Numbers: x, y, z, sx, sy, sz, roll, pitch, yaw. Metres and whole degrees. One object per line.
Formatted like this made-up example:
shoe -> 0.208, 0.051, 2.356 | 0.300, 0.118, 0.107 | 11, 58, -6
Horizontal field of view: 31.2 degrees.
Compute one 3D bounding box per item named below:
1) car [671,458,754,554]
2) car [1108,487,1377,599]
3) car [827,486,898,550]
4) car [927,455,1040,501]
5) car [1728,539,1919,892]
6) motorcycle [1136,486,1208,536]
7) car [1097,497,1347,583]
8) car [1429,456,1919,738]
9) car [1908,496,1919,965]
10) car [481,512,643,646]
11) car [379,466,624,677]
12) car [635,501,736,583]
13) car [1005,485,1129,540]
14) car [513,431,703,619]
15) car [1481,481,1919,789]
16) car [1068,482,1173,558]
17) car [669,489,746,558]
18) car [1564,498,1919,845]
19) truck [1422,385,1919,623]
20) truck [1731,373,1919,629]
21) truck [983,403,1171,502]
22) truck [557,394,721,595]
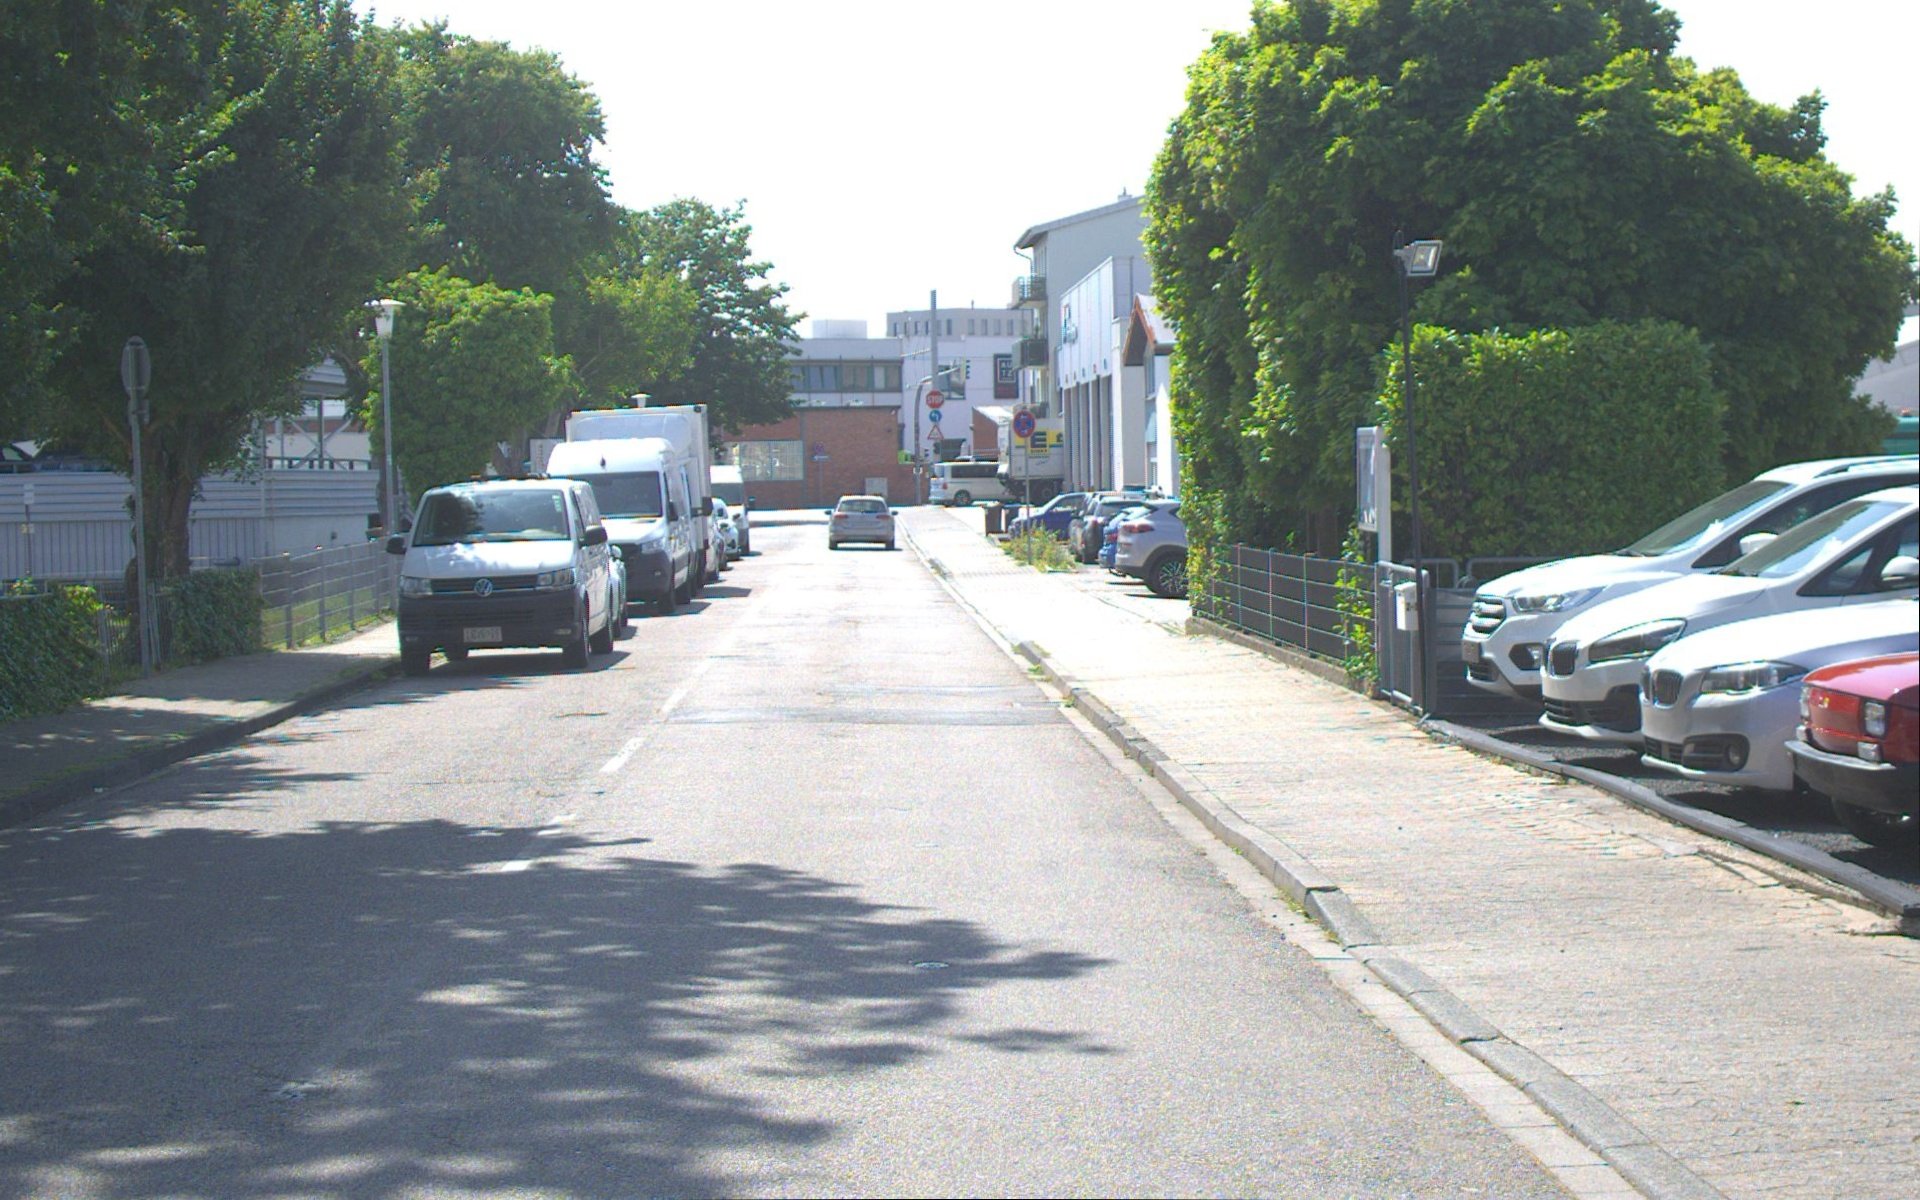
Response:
car -> -6.562, -2.529, 91.501 | 2.005, 2.358, 5.231 | -4, 2, -3
car -> 4.639, -0.954, 56.829 | 4.200, 1.676, 1.767 | 2, 2, -2
car -> -2.700, -2.275, 95.057 | 1.890, 1.679, 3.958 | -1, 1, -2
car -> 1.048, -5.428, 152.985 | 4.653, 1.951, 1.917 | -2, 3, -20
car -> 5.135, 0.387, 14.099 | 3.548, 1.330, 1.559 | -2, 1, -3
motorcycle -> 5.756, -2.415, 93.244 | 1.749, 1.275, 0.797 | -3, 2, -10
car -> 4.768, -1.114, 62.958 | 4.352, 1.436, 1.892 | -1, 2, -2
car -> 5.338, -0.065, 21.699 | 4.402, 1.648, 1.844 | -1, 2, -4
car -> 5.234, 0.420, 11.085 | 3.802, 1.618, 1.760 | -2, 1, -3
car -> -5.023, -0.311, 43.843 | 1.714, 1.538, 4.402 | -3, 2, -3
car -> -4.798, -0.351, 36.668 | 1.971, 2.006, 5.057 | -3, 2, -1
car -> -5.489, -1.193, 69.135 | 1.741, 1.516, 4.311 | -1, 2, -1
car -> 2.886, -2.395, 93.463 | 3.253, 1.394, 1.673 | -1, 2, -1
car -> -5.295, -1.162, 52.637 | 2.168, 2.587, 6.921 | -2, 1, -1
car -> 5.359, 0.097, 19.265 | 4.402, 1.522, 1.897 | -3, 1, -7
car -> 3.523, -1.801, 76.321 | 1.858, 1.562, 4.952 | -1, 2, -2
car -> -6.367, -1.934, 86.344 | 1.704, 1.618, 3.975 | -3, 2, -6
car -> 5.365, 0.219, 16.586 | 4.402, 1.492, 1.897 | -3, 1, -7
truck -> 11.294, -1.516, 54.245 | 7.517, 3.411, 2.527 | 2, 2, -1
truck -> 15.691, -1.485, 50.066 | 8.276, 3.598, 2.953 | -1, 2, 1
truck -> 4.900, -6.203, 144.629 | 7.357, 3.632, 2.769 | -4, 3, -7
truck -> -5.785, -1.896, 62.509 | 2.685, 3.354, 7.131 | -2, 1, -5
